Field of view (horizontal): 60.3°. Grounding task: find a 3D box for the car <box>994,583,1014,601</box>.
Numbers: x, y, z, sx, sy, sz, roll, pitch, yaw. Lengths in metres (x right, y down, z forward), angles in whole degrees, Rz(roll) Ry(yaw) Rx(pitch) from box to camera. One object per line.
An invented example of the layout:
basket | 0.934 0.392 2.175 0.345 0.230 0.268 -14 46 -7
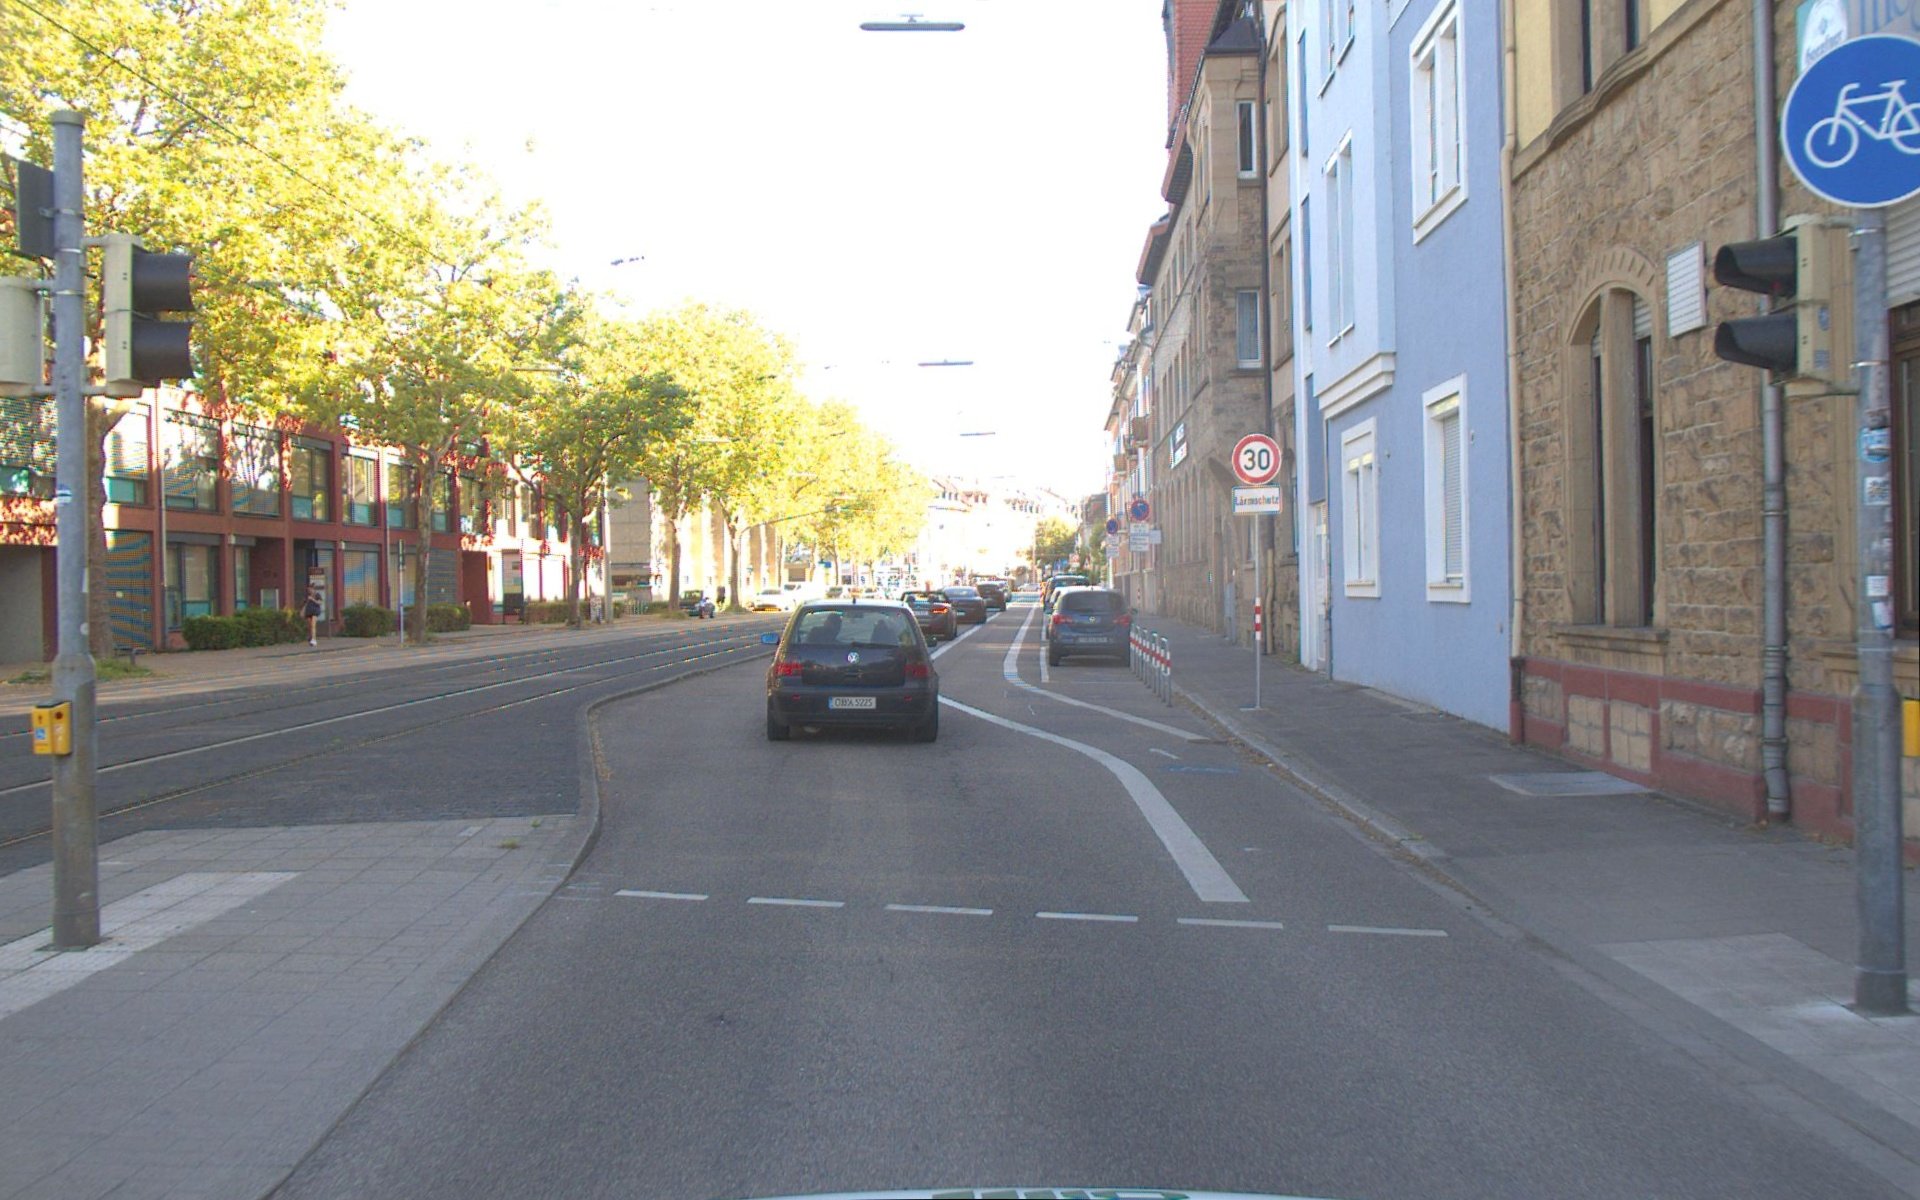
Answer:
car | 3.859 -0.679 144.741 1.602 1.498 3.731 -1 1 3

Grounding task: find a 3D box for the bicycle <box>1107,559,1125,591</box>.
bicycle | 5.761 -0.921 61.071 0.504 1.159 2.259 -3 1 2

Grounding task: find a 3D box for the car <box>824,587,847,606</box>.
car | -11.017 -0.300 146.086 1.537 1.560 3.573 -1 0 3

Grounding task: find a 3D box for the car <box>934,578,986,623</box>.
car | 0.021 0.000 62.727 1.712 1.564 3.894 -1 1 3

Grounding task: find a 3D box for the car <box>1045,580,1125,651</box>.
car | 2.876 0.310 38.146 1.716 1.527 4.198 1 1 4

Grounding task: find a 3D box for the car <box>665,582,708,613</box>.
car | -14.357 -0.093 87.059 1.475 1.479 3.464 -1 -2 4

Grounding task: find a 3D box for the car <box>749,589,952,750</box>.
car | -1.021 0.634 17.313 1.712 1.399 4.001 -1 1 2

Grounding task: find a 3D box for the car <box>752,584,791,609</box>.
car | -12.711 -0.242 111.615 1.970 1.600 4.695 1 1 1

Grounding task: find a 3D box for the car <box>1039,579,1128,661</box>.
car | 2.383 0.356 32.620 1.620 1.508 4.002 0 1 2

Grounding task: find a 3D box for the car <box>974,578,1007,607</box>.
car | 1.647 -0.402 87.913 1.602 1.498 3.731 -1 1 3

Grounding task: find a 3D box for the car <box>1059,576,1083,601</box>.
car | 8.522 -0.893 126.970 1.722 1.870 3.549 1 1 3

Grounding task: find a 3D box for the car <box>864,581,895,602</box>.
car | -6.509 -0.719 133.602 1.715 1.544 4.075 -3 0 8

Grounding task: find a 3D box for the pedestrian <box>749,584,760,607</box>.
pedestrian | -16.389 -0.367 132.111 0.780 1.852 0.670 1 1 3

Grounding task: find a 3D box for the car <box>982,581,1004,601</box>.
car | 2.623 -0.699 130.090 1.602 1.498 3.731 -1 0 3

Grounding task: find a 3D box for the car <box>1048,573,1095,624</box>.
car | 4.247 -0.083 63.514 1.716 1.888 4.818 -1 1 3

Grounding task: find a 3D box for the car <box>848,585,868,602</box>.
car | -10.021 -0.640 162.719 1.537 1.560 3.573 -1 0 3

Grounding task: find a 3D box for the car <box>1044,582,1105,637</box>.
car | 3.308 0.235 48.333 1.678 1.527 4.228 1 1 3

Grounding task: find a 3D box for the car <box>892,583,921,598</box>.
car | -7.532 -1.292 231.881 3.914 2.049 1.996 0 1 -10

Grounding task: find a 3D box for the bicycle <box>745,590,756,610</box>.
bicycle | -13.409 -0.011 106.059 0.569 1.230 1.653 0 1 -3

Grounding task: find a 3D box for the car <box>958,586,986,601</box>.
car | 1.728 -0.907 235.546 3.908 2.049 1.999 0 1 -4

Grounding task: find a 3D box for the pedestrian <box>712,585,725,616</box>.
pedestrian | -15.074 0.044 103.175 0.771 1.902 0.669 0 1 -12

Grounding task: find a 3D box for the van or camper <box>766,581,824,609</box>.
van or camper | -12.123 -0.413 121.904 2.018 1.983 5.189 1 1 23

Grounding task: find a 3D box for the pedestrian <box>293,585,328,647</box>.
pedestrian | -18.519 0.447 47.142 0.612 1.748 0.901 0 1 2

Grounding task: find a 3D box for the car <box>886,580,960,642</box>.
car | -0.979 0.273 45.692 1.712 1.564 3.894 -1 1 3

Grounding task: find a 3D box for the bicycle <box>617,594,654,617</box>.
bicycle | -18.430 0.311 94.036 1.966 1.301 0.664 0 1 3
